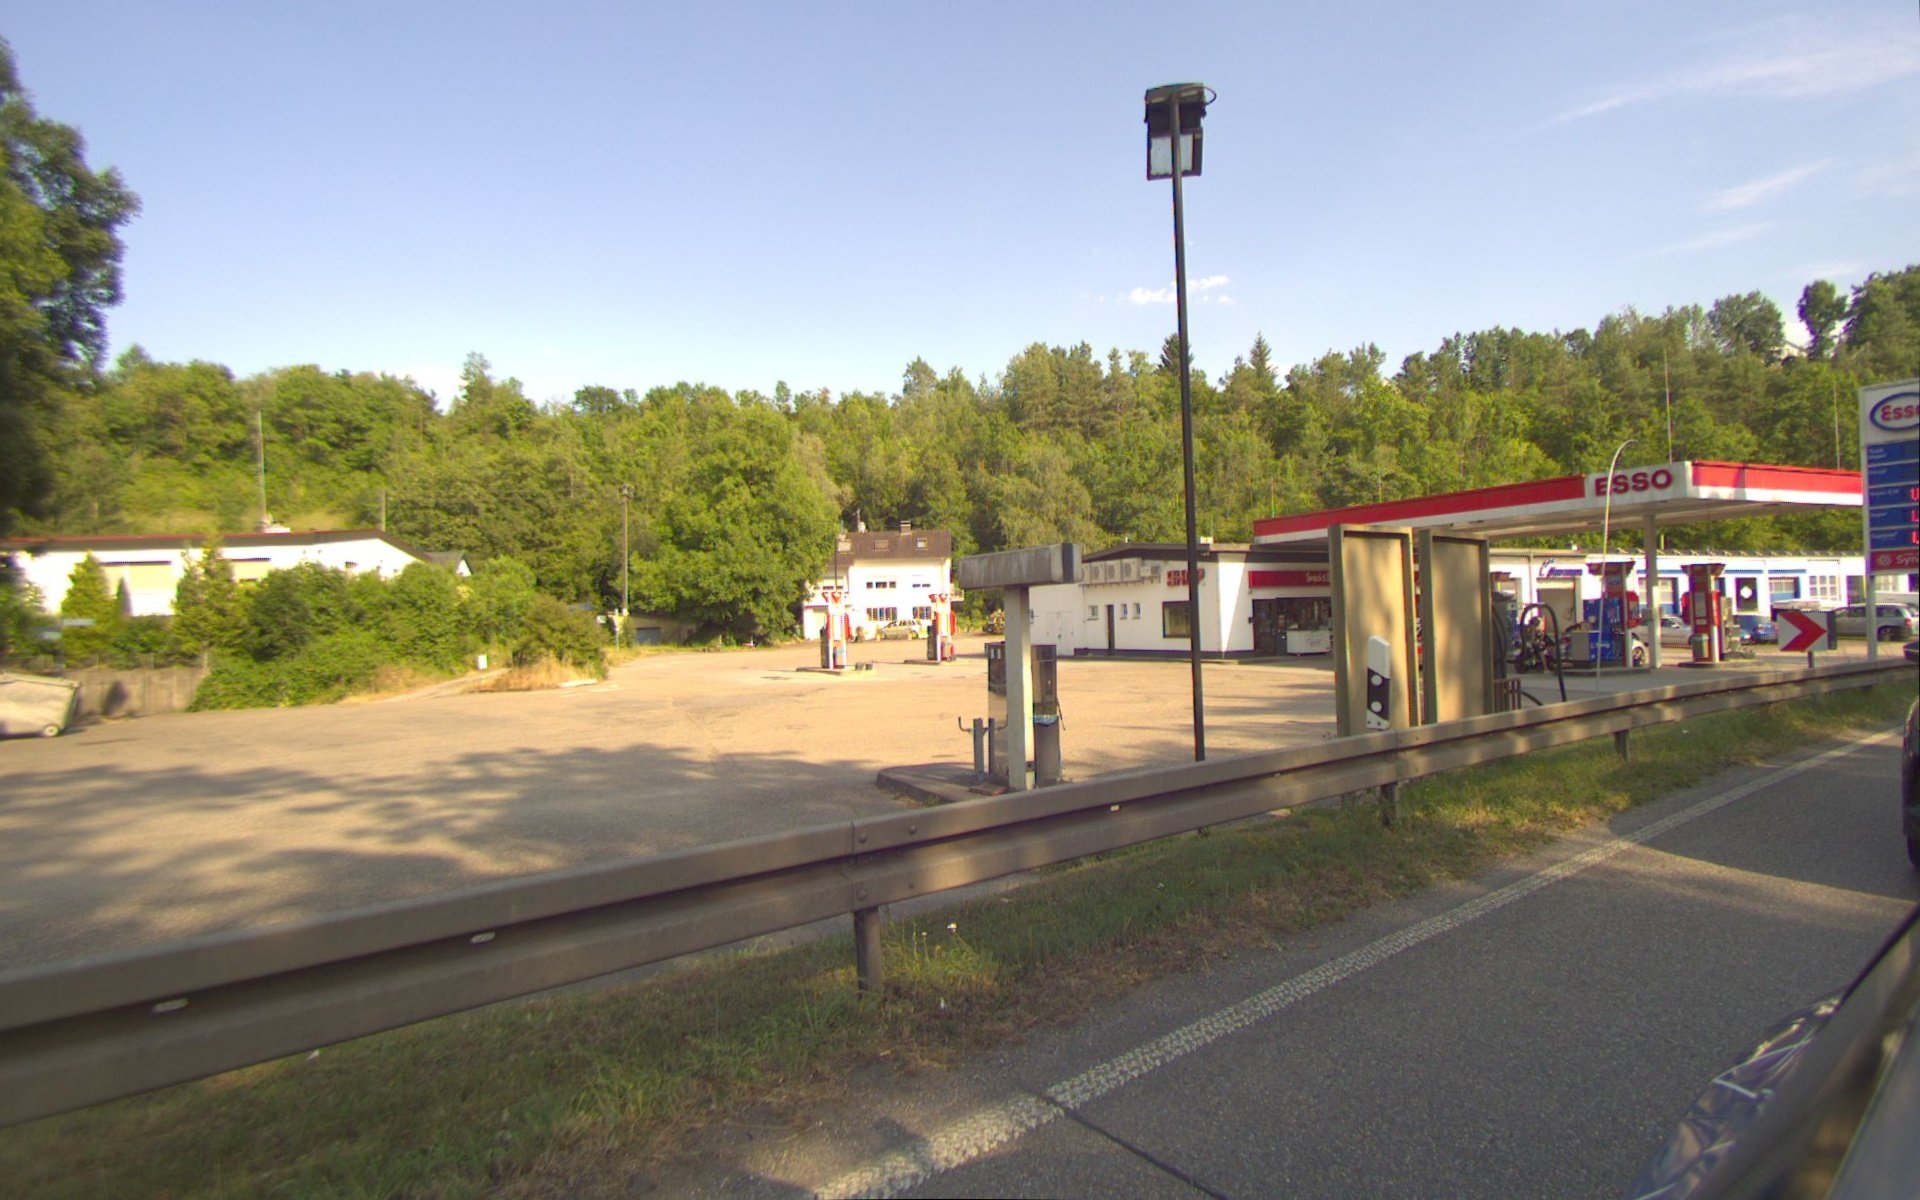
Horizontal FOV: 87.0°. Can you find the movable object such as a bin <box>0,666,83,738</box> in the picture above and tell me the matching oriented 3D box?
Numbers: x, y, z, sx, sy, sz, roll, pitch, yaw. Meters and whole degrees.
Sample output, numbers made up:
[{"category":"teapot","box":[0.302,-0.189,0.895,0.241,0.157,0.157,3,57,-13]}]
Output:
[{"category":"movable object such as a bin","box":[-20.395,2.197,21.587,2.512,1.439,1.267,0,-4,-41]}]

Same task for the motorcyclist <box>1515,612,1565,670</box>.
[{"category":"motorcyclist","box":[16.940,1.183,29.561,0.909,1.625,0.862,0,-1,-27]}]

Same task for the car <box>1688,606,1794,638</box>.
[{"category":"car","box":[36.874,1.016,47.871,1.698,1.464,3.560,-1,-1,-26]}]

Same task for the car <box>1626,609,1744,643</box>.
[{"category":"car","box":[32.690,1.139,45.735,1.741,1.371,3.973,-1,1,-30]}]

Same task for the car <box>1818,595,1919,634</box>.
[{"category":"car","box":[46.259,0.699,50.951,1.854,1.750,4.267,-1,2,-29]}]

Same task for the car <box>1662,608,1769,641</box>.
[{"category":"car","box":[34.929,1.118,46.882,1.656,1.424,3.566,-1,0,-26]}]

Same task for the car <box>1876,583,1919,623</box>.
[{"category":"car","box":[56.966,0.157,58.547,2.248,2.302,5.500,-1,1,-26]}]

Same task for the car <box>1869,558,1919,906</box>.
[{"category":"car","box":[6.758,0.618,5.547,4.359,1.661,1.860,0,0,-37]}]

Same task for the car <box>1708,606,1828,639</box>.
[{"category":"car","box":[38.789,1.046,48.700,1.856,1.365,4.087,-1,2,-26]}]

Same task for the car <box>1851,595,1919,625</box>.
[{"category":"car","box":[52.790,0.537,56.457,1.856,1.631,4.261,-1,1,-26]}]

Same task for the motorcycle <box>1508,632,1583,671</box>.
[{"category":"motorcycle","box":[17.158,1.491,29.655,2.293,1.025,0.765,-1,-1,-27]}]

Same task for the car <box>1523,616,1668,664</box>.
[{"category":"car","box":[19.941,1.212,31.760,4.299,1.336,1.851,-1,-1,-26]}]

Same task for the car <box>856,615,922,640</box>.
[{"category":"car","box":[-5.676,2.177,81.477,5.068,1.860,2.701,-1,-1,0]}]

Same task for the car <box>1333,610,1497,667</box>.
[{"category":"car","box":[14.608,1.181,32.476,5.074,1.649,2.102,-1,-1,-28]}]
